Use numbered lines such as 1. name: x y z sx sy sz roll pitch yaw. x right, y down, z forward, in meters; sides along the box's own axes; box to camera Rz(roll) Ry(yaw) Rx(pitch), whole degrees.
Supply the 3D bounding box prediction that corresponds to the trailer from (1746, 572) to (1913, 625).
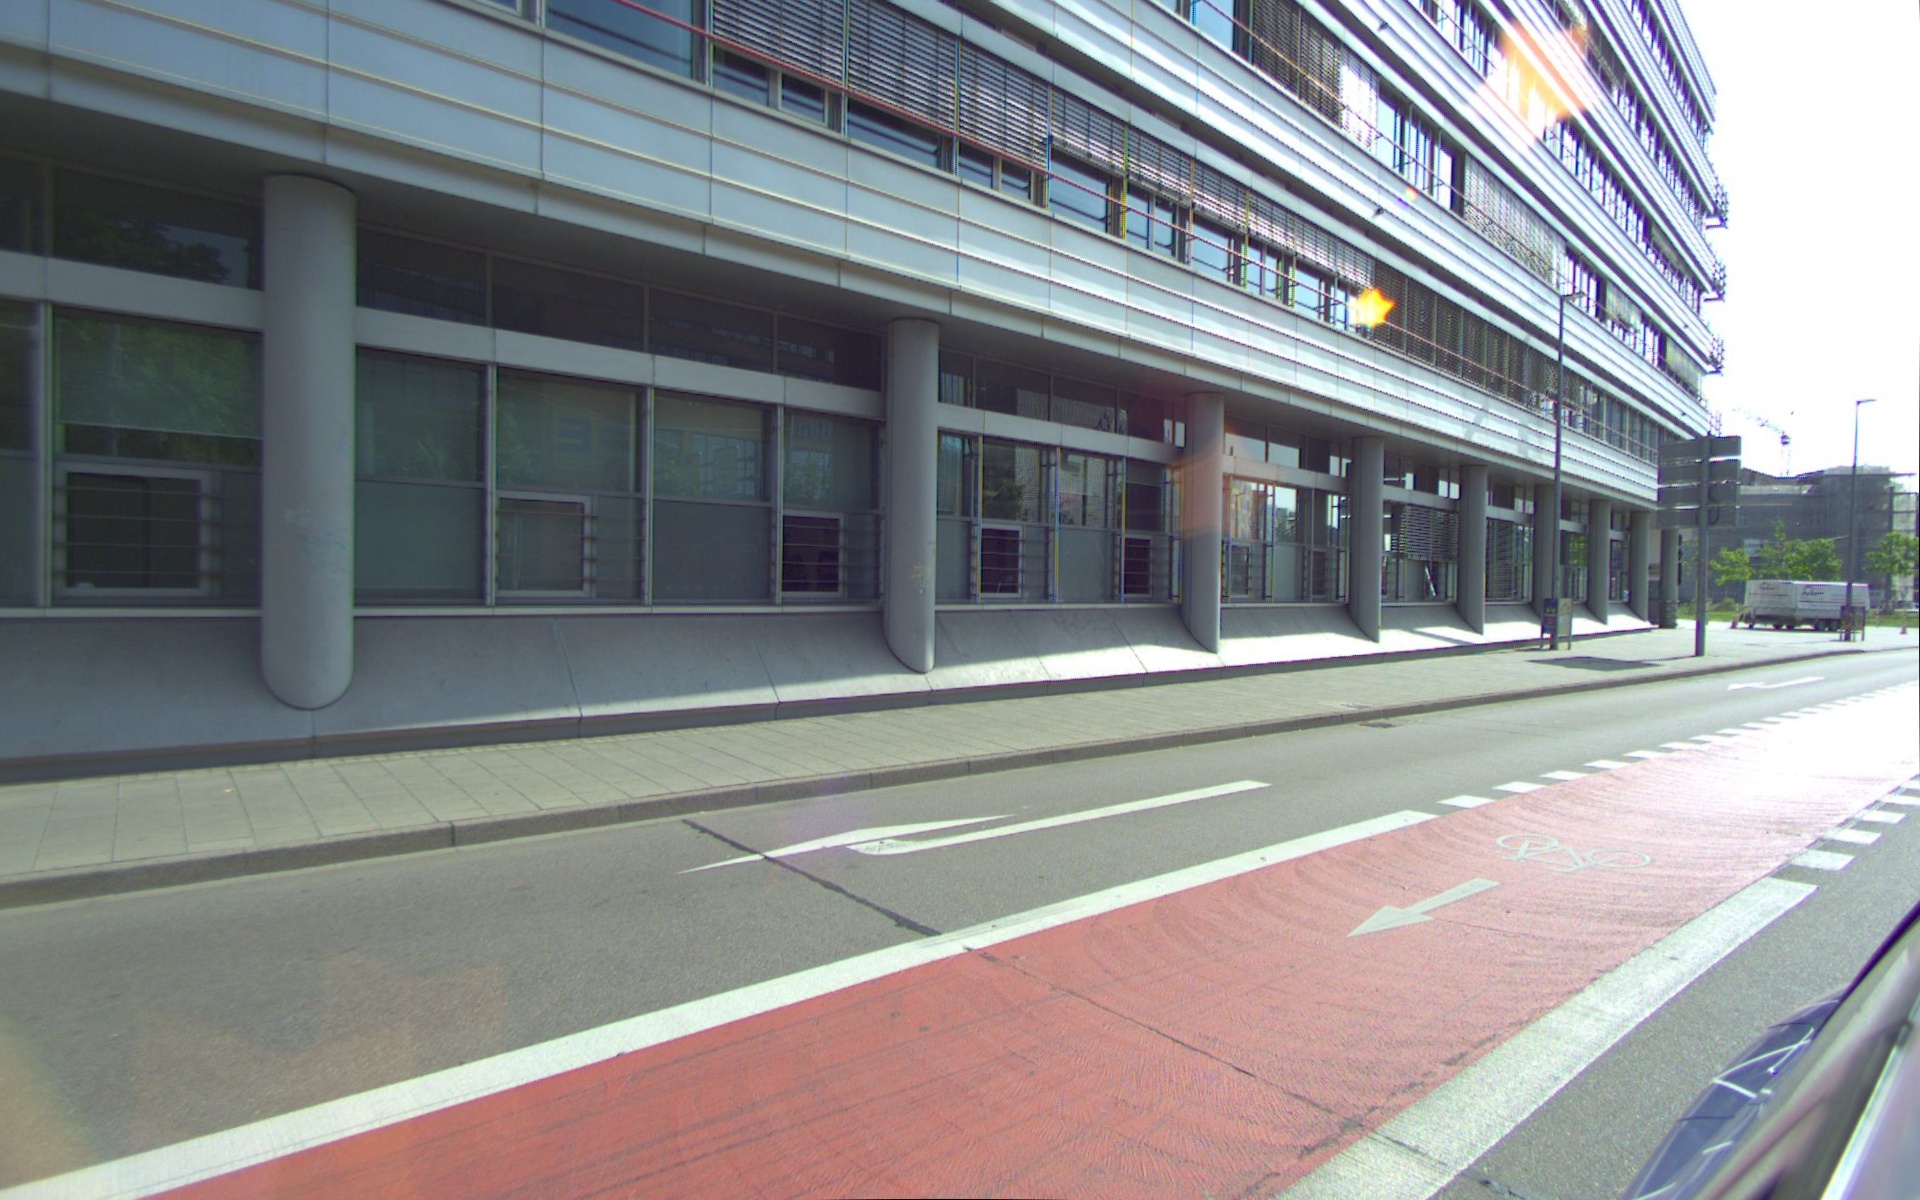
1. trailer: 37.956 -0.098 44.232 5.825 2.178 2.402 1 1 -11
